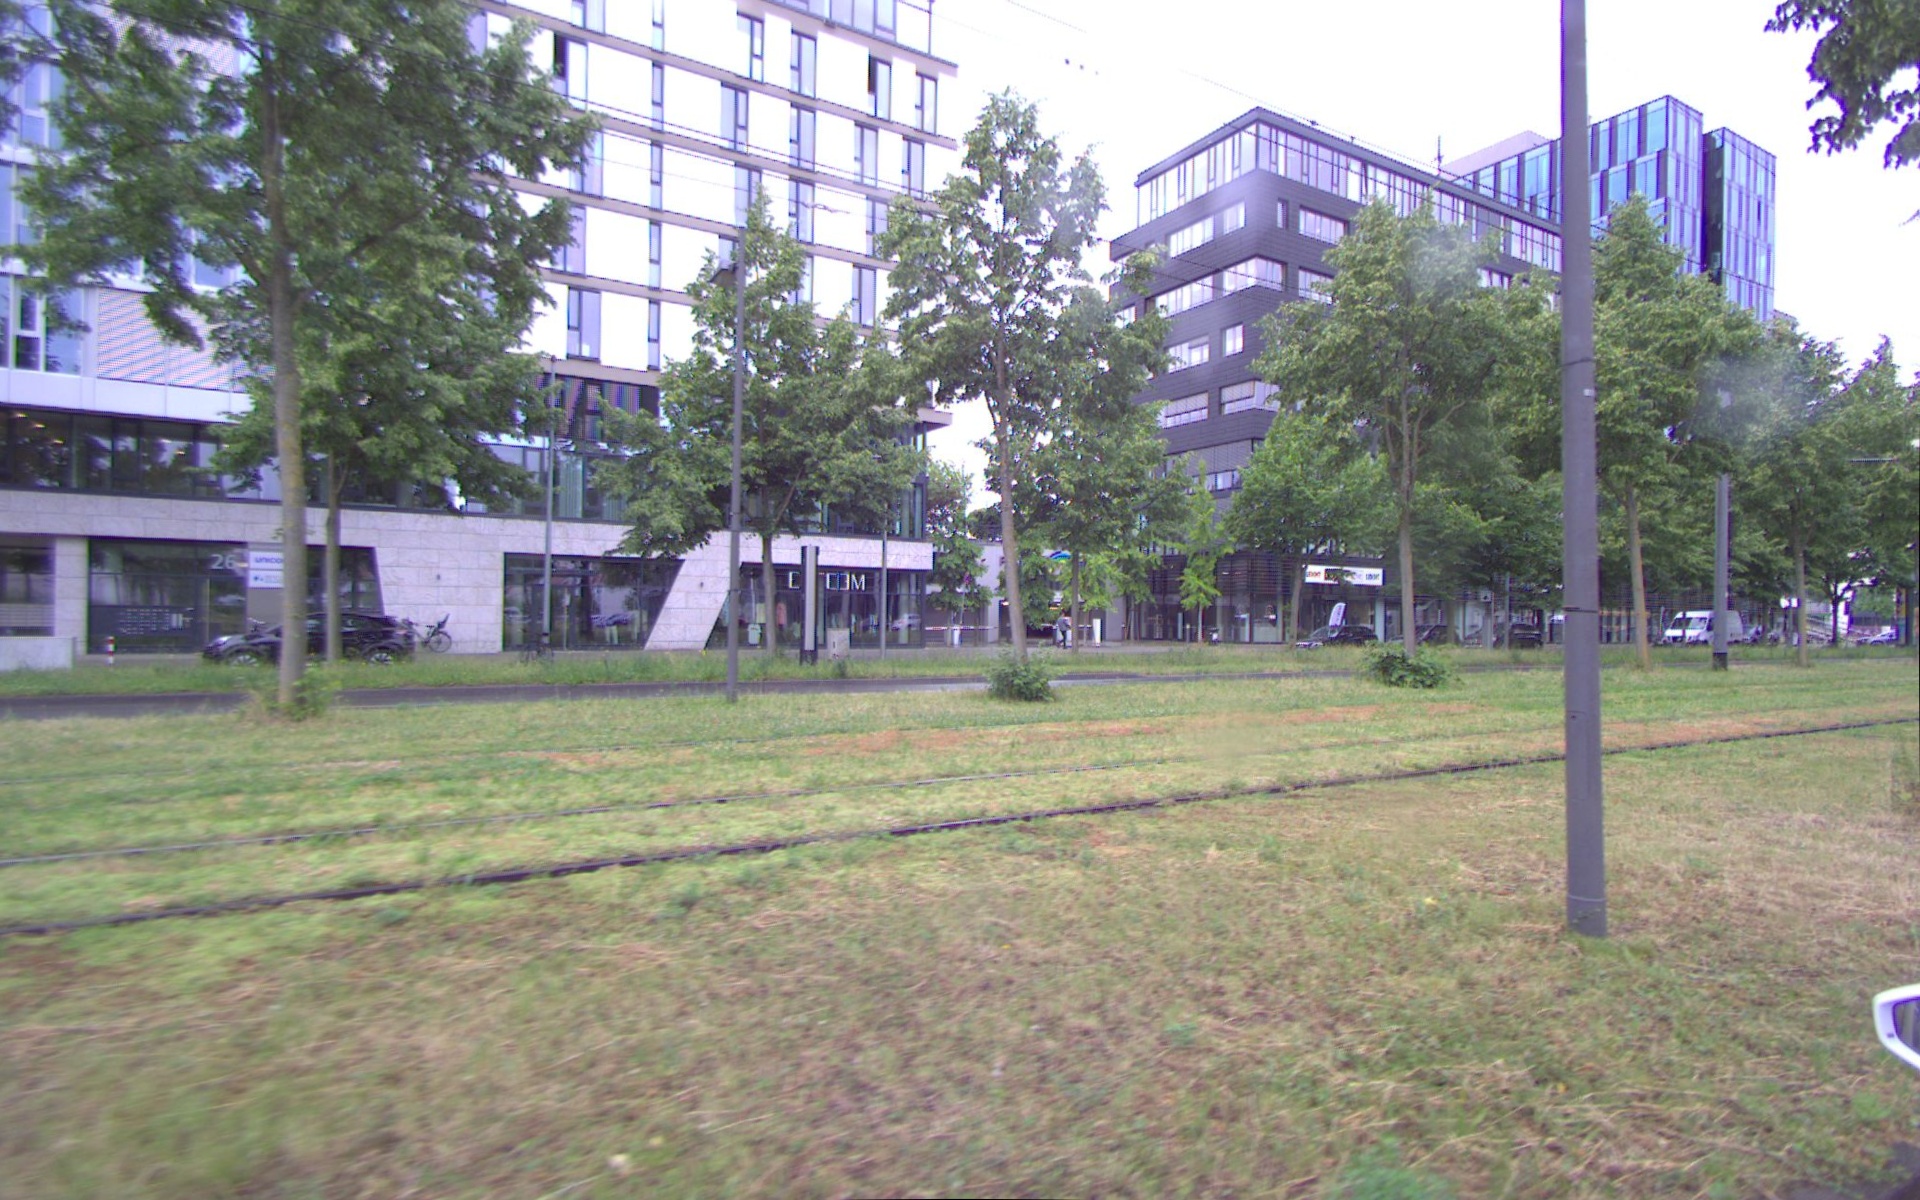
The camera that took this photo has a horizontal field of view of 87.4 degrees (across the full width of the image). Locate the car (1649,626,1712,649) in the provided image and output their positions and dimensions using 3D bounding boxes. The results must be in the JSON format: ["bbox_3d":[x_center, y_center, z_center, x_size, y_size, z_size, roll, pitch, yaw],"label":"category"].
[{"bbox_3d":[45.999,2.373,64.115,4.135,1.397,1.807,1,0,-31],"label":"car"}]

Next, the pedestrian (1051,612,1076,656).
[{"bbox_3d":[4.772,1.552,46.191,0.844,2.007,0.792,1,0,-23],"label":"pedestrian"}]

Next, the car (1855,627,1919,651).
[{"bbox_3d":[65.523,2.712,69.787,4.591,1.542,1.999,1,0,23],"label":"car"}]

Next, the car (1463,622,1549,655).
[{"bbox_3d":[25.893,1.803,47.626,4.193,1.469,1.693,1,0,-31],"label":"car"}]

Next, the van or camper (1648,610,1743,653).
[{"bbox_3d":[42.874,1.813,58.510,5.783,2.346,2.421,1,0,-31],"label":"van or camper"}]

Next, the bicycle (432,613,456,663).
[{"bbox_3d":[-17.010,1.235,33.098,0.600,1.559,1.559,1,0,-31],"label":"bicycle"}]

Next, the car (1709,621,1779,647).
[{"bbox_3d":[48.144,2.062,61.658,4.556,1.542,1.982,1,0,-32],"label":"car"}]

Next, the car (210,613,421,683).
[{"bbox_3d":[-14.737,1.056,23.183,3.943,1.484,1.845,1,-1,-32],"label":"car"}]

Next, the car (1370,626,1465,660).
[{"bbox_3d":[20.423,1.898,44.797,3.954,1.397,1.983,1,0,-31],"label":"car"}]

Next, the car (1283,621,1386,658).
[{"bbox_3d":[15.382,1.606,41.231,3.954,1.397,1.983,1,0,-31],"label":"car"}]
